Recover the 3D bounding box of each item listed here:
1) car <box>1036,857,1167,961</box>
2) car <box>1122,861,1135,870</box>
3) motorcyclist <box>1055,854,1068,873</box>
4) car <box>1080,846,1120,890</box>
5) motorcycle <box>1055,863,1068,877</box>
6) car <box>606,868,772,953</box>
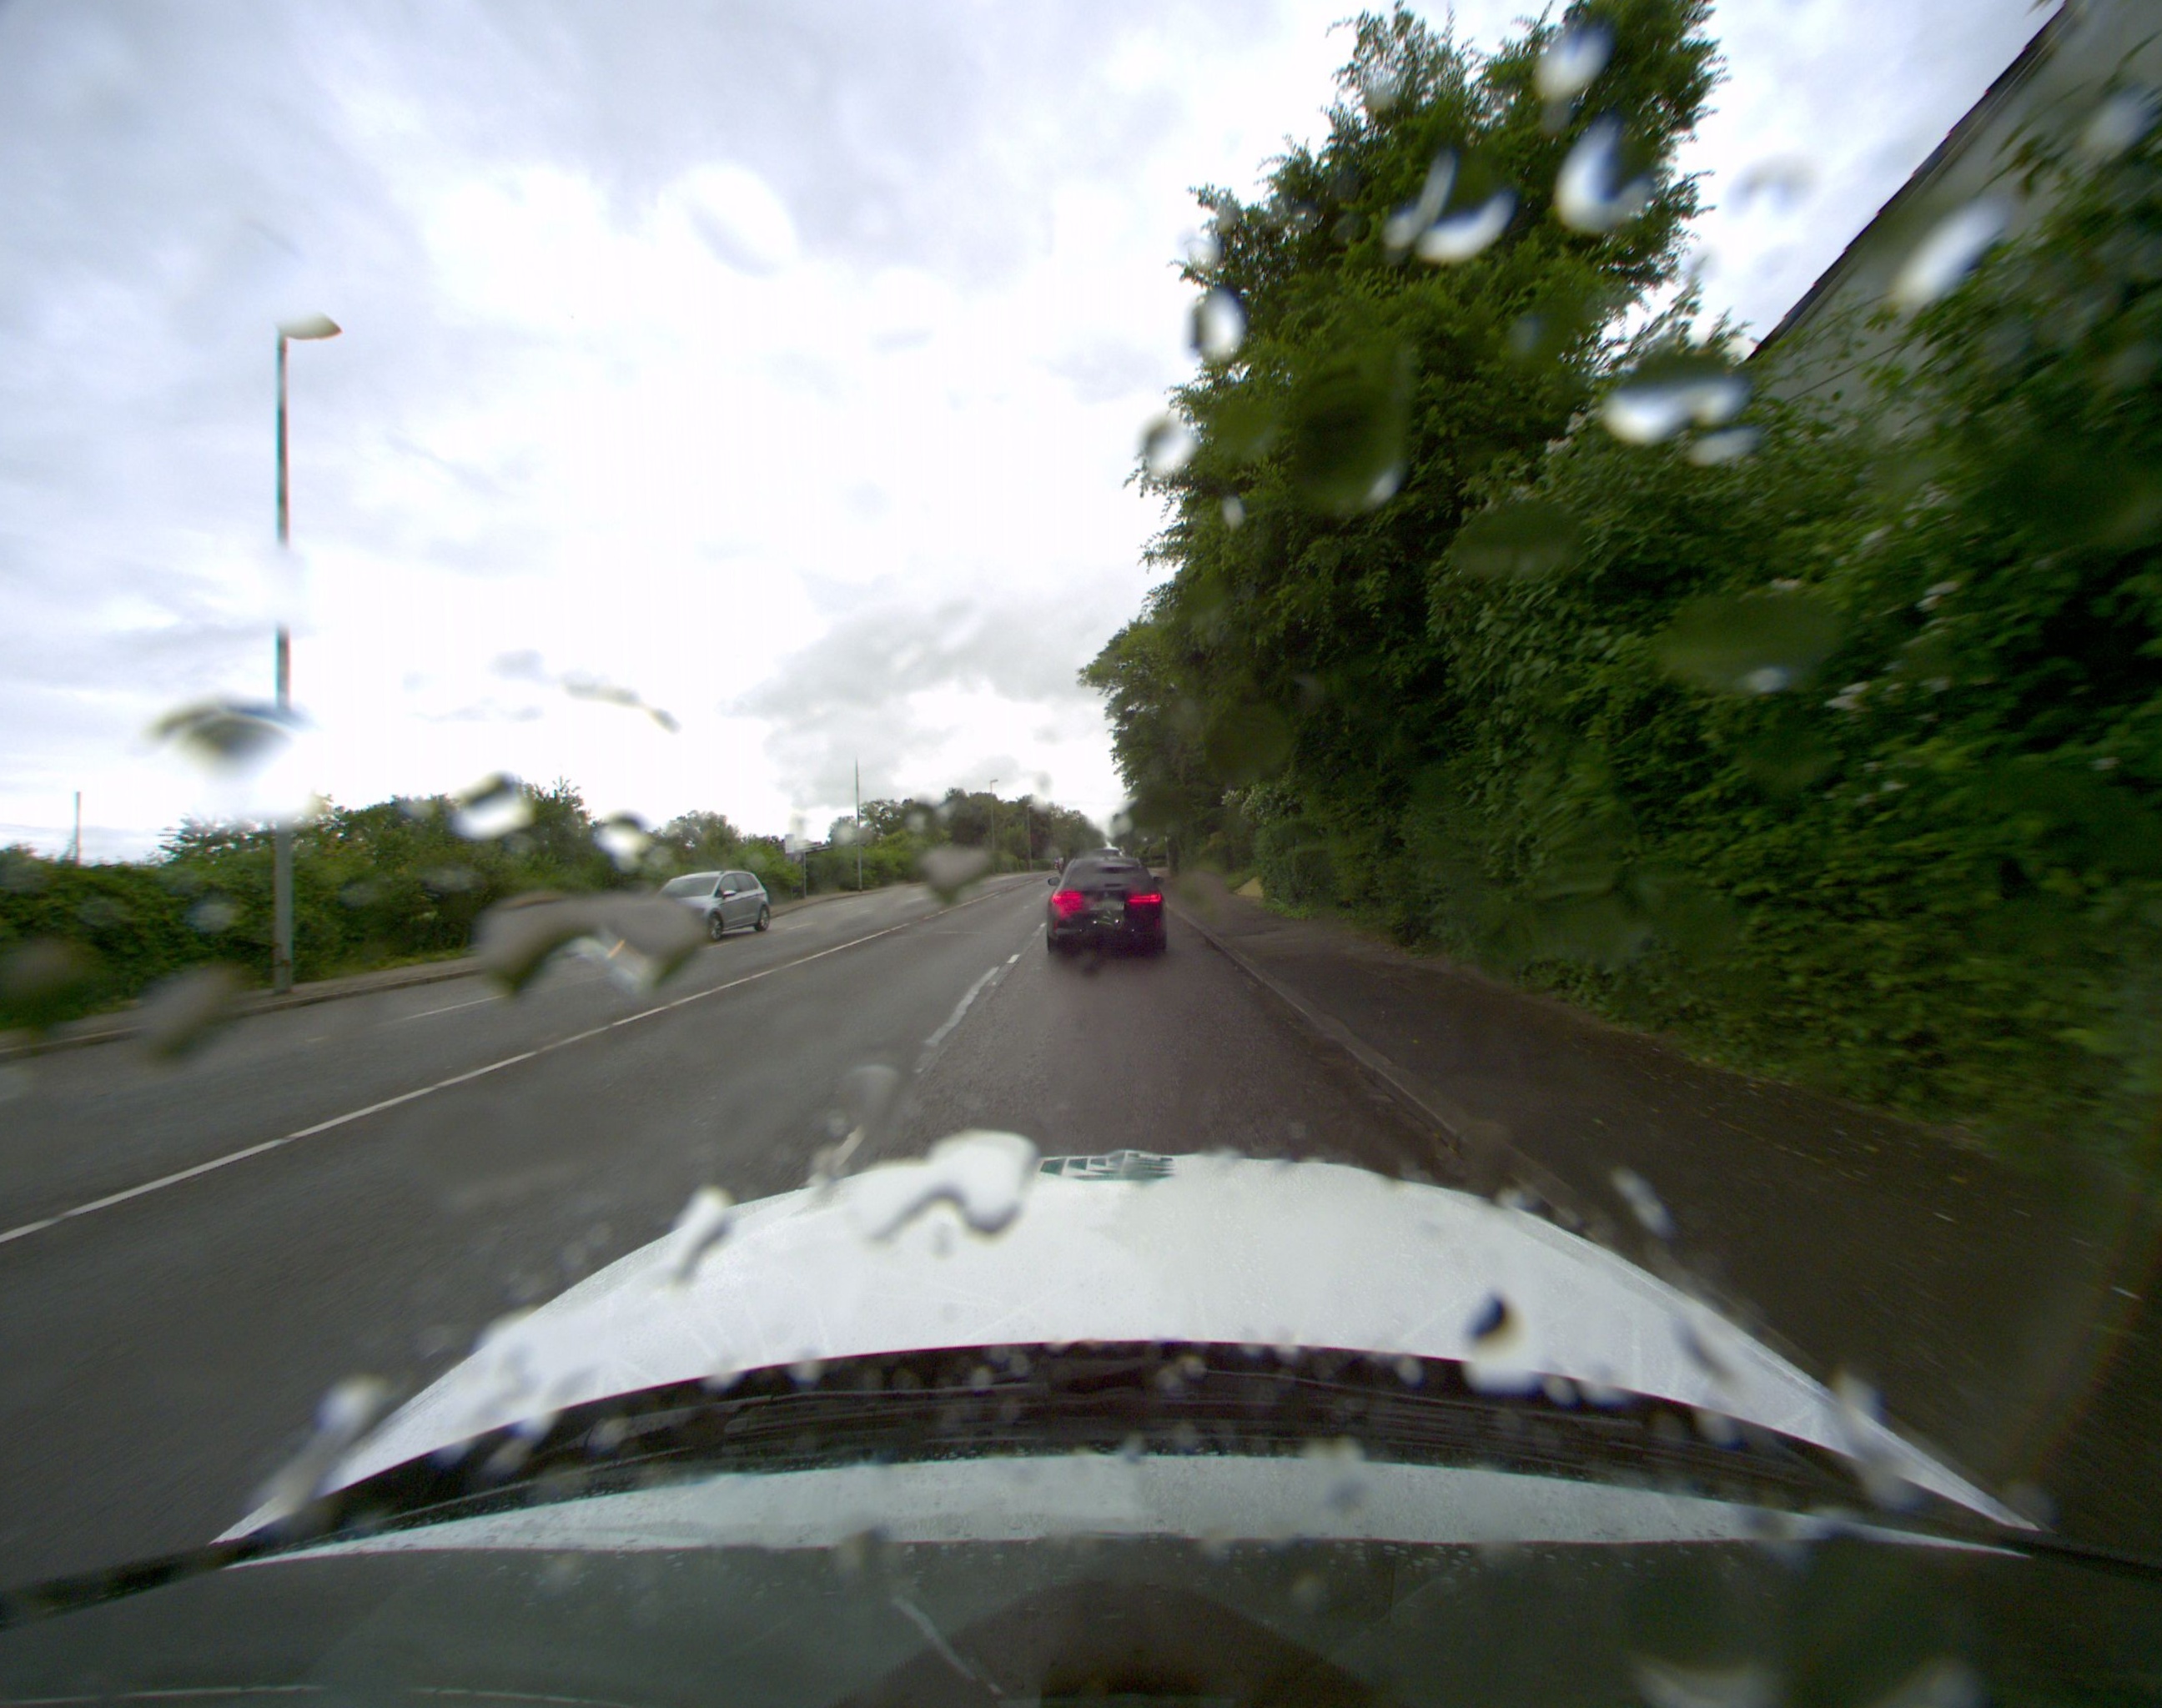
[{"bbox_3d":[0.395,0.816,13.800,1.889,1.489,4.003,0,-1,3],"label":"car"},{"bbox_3d":[7.851,1.936,134.635,1.927,1.442,4.413,-2,-1,4],"label":"car"},{"bbox_3d":[-1.630,0.828,68.482,1.035,1.568,0.855,-1,-1,1],"label":"motorcyclist"},{"bbox_3d":[0.863,0.605,37.039,1.623,1.833,4.001,-3,0,2],"label":"car"},{"bbox_3d":[-1.630,1.369,68.611,0.872,1.124,2.742,-1,-1,2],"label":"motorcycle"},{"bbox_3d":[-8.793,1.186,18.673,1.750,1.568,3.999,-4,0,0],"label":"car"}]
